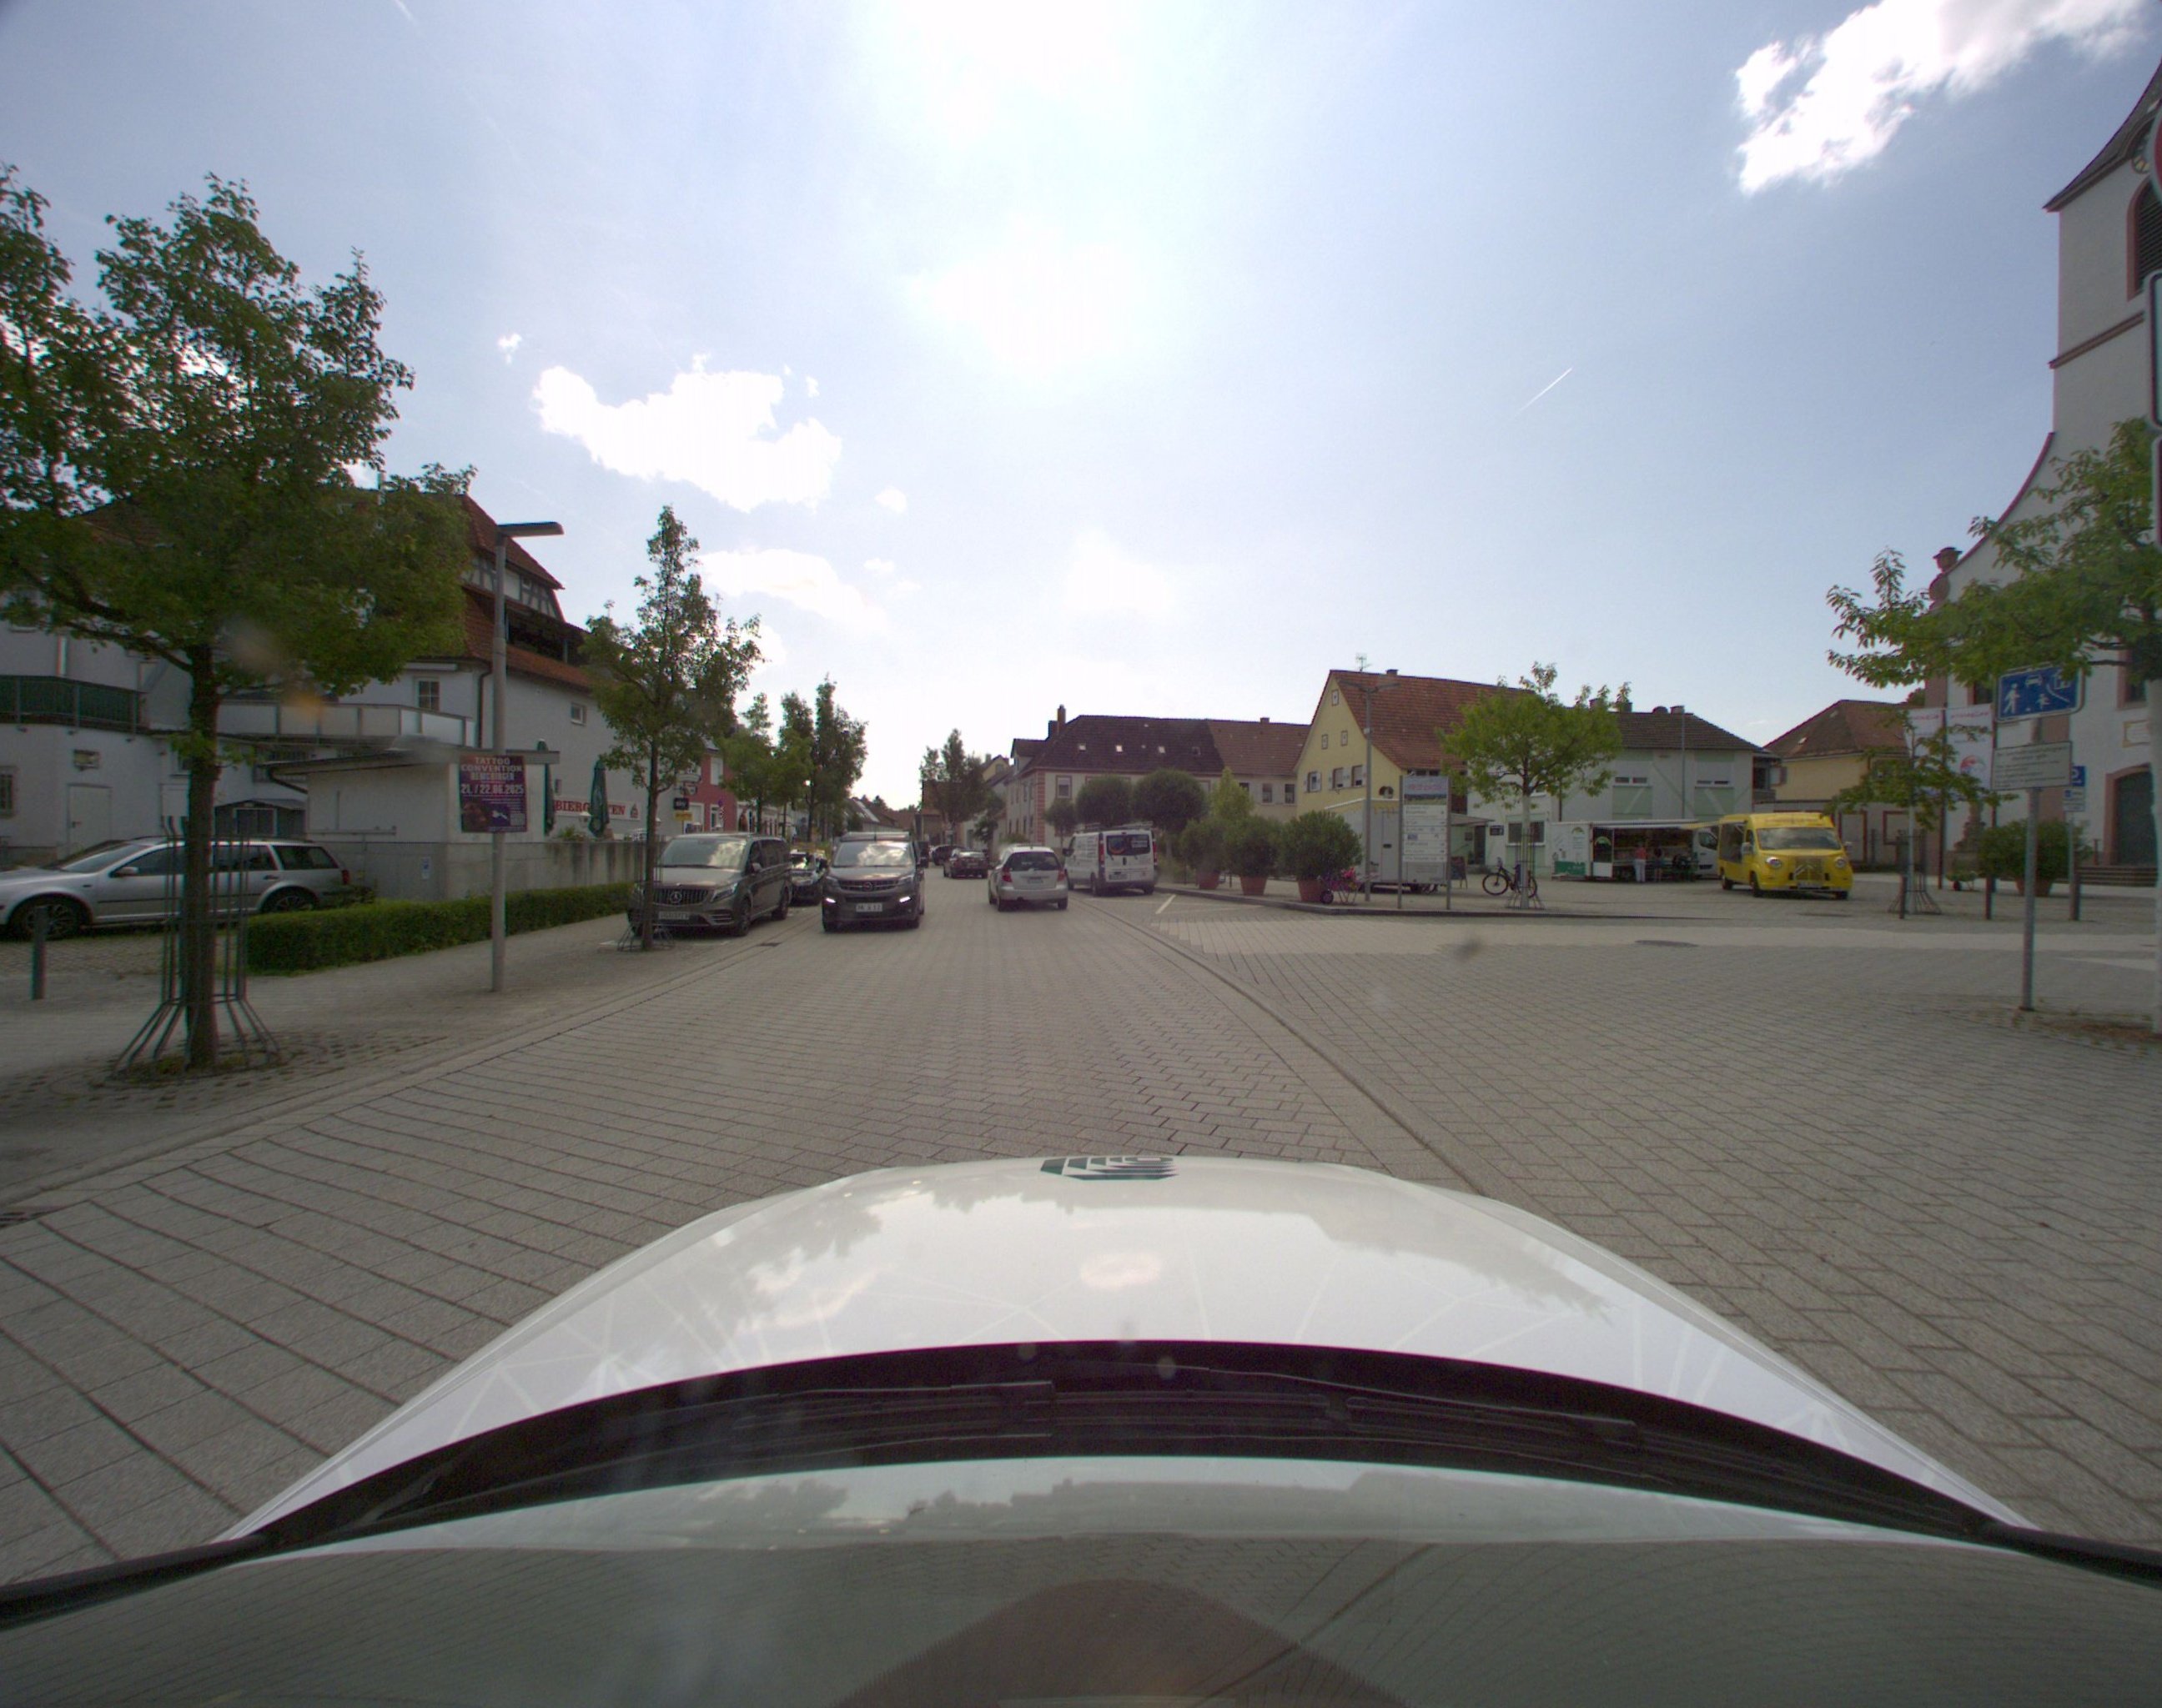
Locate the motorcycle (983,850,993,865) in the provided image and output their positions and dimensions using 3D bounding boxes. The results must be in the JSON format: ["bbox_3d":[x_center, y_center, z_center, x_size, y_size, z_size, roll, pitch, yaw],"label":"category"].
[{"bbox_3d":[-7.035,0.276,61.651,0.526,1.123,1.060,0,1,-22],"label":"motorcycle"}]

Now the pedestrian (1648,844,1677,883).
[{"bbox_3d":[23.219,0.389,32.524,0.558,1.540,0.814,0,0,-4],"label":"pedestrian"}]

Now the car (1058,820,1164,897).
[{"bbox_3d":[0.830,0.090,26.163,1.946,2.177,5.075,-2,1,-15],"label":"car"}]

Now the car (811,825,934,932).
[{"bbox_3d":[-4.386,0.433,17.842,1.992,2.013,4.728,-1,1,-7],"label":"car"}]

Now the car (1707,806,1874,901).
[{"bbox_3d":[21.292,-0.043,24.871,2.620,2.477,7.008,0,0,31],"label":"car"}]

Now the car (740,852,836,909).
[{"bbox_3d":[-8.199,0.674,23.159,1.816,1.423,4.521,0,1,-10],"label":"car"}]

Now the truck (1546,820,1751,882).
[{"bbox_3d":[23.798,-0.134,34.361,6.790,2.497,2.953,0,0,-5],"label":"truck"}]

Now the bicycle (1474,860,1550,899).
[{"bbox_3d":[12.681,0.723,24.049,0.755,1.068,2.101,0,1,-15],"label":"bicycle"}]

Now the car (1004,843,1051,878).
[{"bbox_3d":[-2.532,0.266,37.845,1.768,1.564,4.404,0,0,-9],"label":"car"}]

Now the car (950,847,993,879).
[{"bbox_3d":[-5.317,0.397,39.080,1.945,1.407,3.987,0,1,-9],"label":"car"}]

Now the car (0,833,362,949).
[{"bbox_3d":[-14.648,0.470,12.870,1.976,1.496,4.462,3,2,25],"label":"car"}]

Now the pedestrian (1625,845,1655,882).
[{"bbox_3d":[22.267,0.375,32.451,0.642,1.442,0.760,-1,0,-6],"label":"pedestrian"}]

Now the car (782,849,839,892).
[{"bbox_3d":[-10.051,0.555,30.487,1.670,1.474,3.945,0,1,-13],"label":"car"}]

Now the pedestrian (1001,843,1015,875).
[{"bbox_3d":[-3.732,0.261,41.707,0.639,1.629,0.617,0,0,-13],"label":"pedestrian"}]

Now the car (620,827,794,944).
[{"bbox_3d":[-7.306,0.508,16.512,1.987,1.990,5.027,0,1,-10],"label":"car"}]

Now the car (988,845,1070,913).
[{"bbox_3d":[-1.487,0.588,21.734,1.769,1.594,3.987,-1,1,-10],"label":"car"}]

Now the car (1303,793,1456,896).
[{"bbox_3d":[9.714,-0.279,27.444,2.742,2.963,7.117,1,0,2],"label":"car"}]

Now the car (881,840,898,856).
[{"bbox_3d":[-22.378,-0.697,95.179,1.642,1.849,3.584,-1,0,-18],"label":"car"}]

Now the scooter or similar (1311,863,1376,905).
[{"bbox_3d":[5.785,0.660,17.987,1.140,0.881,0.814,0,0,-6],"label":"scooter or similar"}]

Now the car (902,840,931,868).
[{"bbox_3d":[-12.075,-0.017,59.535,1.771,1.888,4.425,3,-1,-14],"label":"car"}]

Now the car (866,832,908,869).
[{"bbox_3d":[-11.130,-0.217,46.446,1.998,2.013,4.712,-1,1,-17],"label":"car"}]
